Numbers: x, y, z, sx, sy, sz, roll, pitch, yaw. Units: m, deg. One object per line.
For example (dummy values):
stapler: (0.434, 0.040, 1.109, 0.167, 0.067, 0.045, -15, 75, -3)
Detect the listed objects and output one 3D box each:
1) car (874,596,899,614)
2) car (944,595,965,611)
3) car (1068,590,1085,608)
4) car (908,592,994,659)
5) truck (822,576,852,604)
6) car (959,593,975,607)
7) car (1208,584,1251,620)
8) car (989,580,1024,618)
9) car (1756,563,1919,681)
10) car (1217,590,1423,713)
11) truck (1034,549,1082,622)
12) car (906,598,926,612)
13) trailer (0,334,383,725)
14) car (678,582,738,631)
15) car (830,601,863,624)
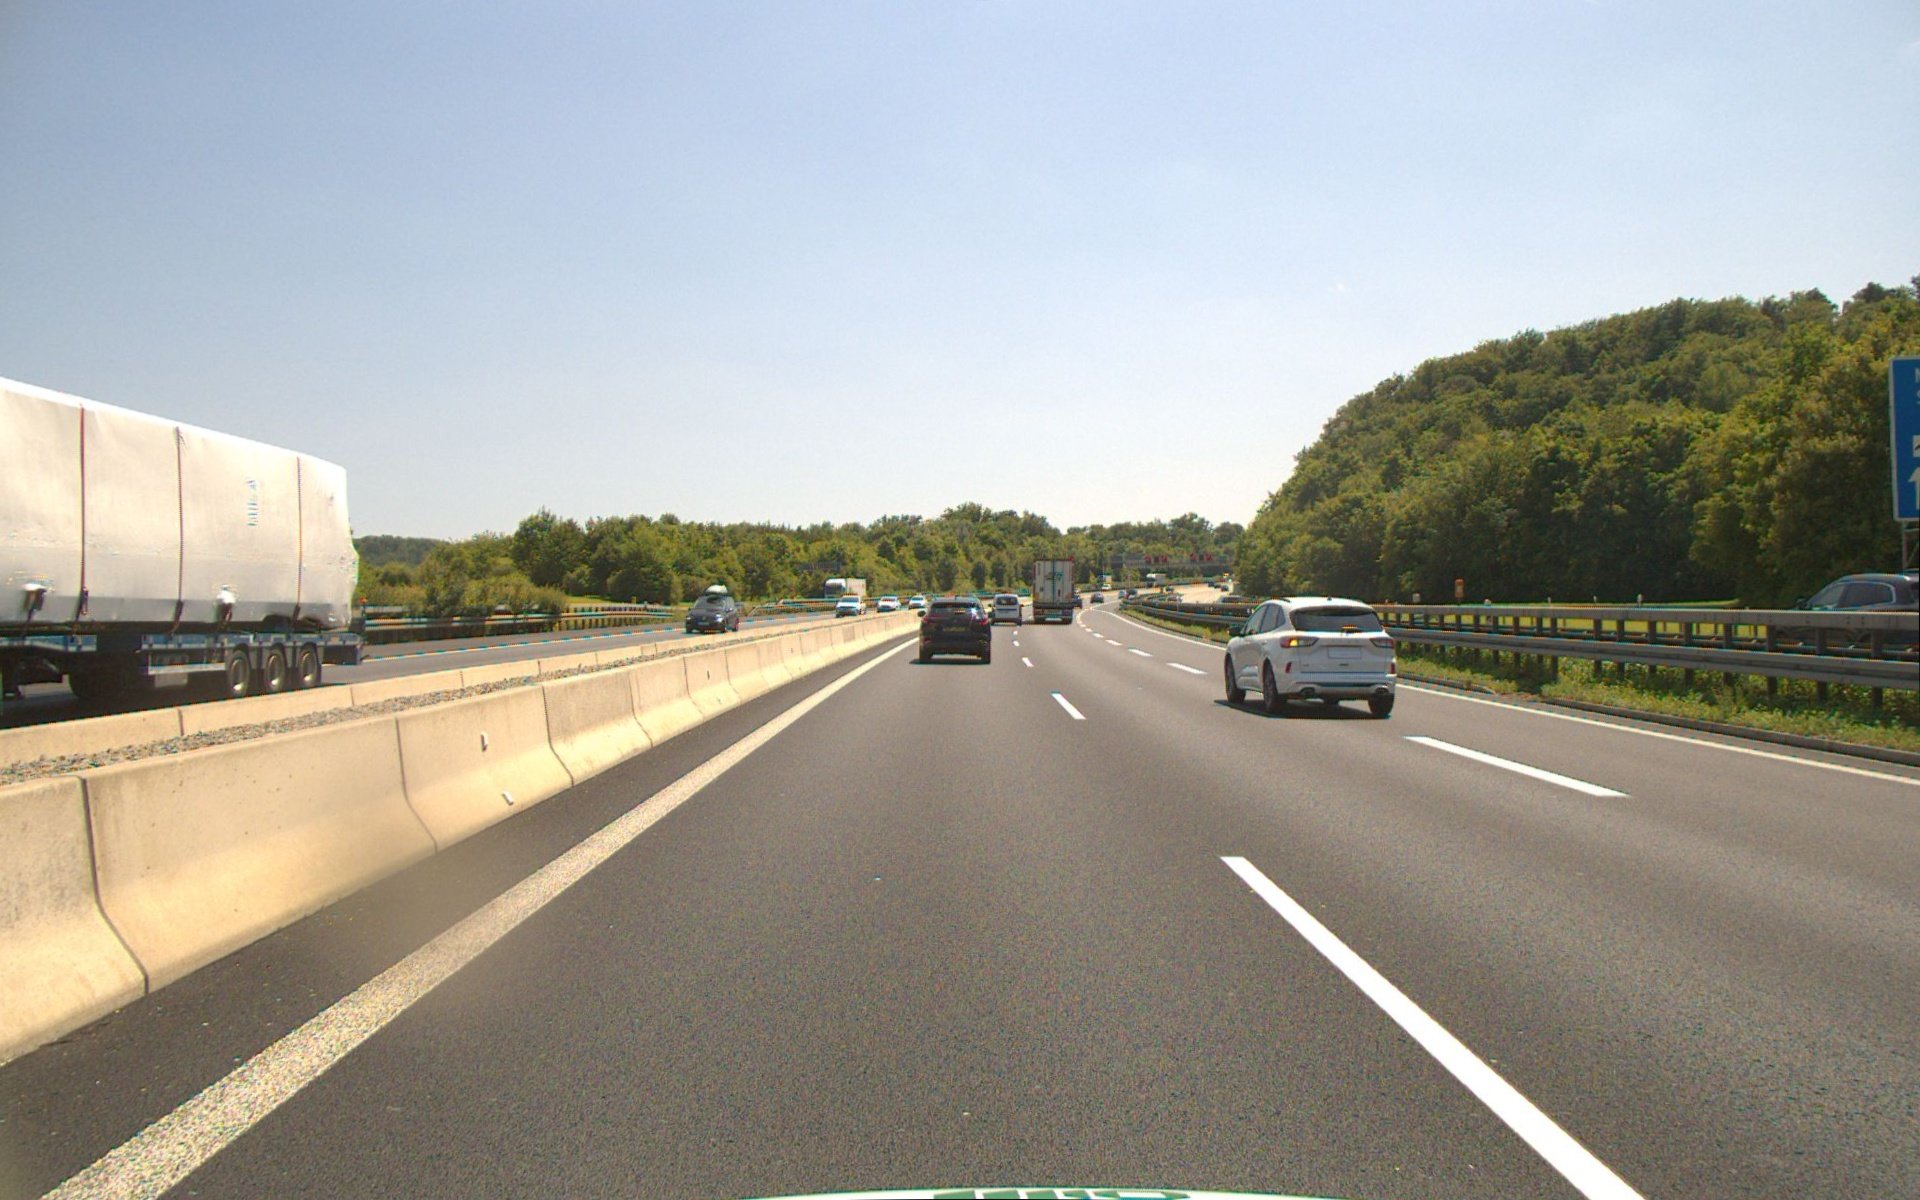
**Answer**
car: (-6.732, 0.461, 152.022, 1.952, 1.570, 5.043, 0, 0, 2)
car: (-0.598, 0.292, 174.908, 1.952, 1.688, 4.636, 0, 0, 3)
car: (13.376, -0.147, 189.489, 1.951, 2.049, 4.002, 0, 0, 4)
car: (-0.273, 0.627, 41.796, 1.745, 1.605, 3.994, 0, 0, -7)
truck: (-15.961, -1.288, 214.963, 3.018, 3.565, 5.413, 0, 0, 5)
car: (0.972, -0.018, 224.135, 1.952, 1.856, 4.907, 0, 0, 4)
car: (16.309, 0.112, 100.340, 1.952, 2.049, 4.000, -2, 0, 1)
car: (2.704, -0.078, 96.621, 1.952, 2.048, 4.001, -3, 0, 1)
car: (14.635, 0.327, 25.317, 1.954, 1.691, 5.622, 0, 0, -3)
car: (5.315, 0.718, 25.040, 1.954, 1.691, 4.465, 0, 0, -3)
truck: (6.396, -0.875, 107.959, 2.968, 4.496, 12.023, 0, 0, 3)
car: (-4.694, 0.480, 176.972, 1.812, 1.419, 4.002, 1, 0, 3)
trailer: (-12.165, -0.764, 24.724, 2.662, 4.388, 12.822, 0, 0, 0)
car: (-11.161, 0.289, 73.624, 1.953, 2.117, 4.703, 0, 0, 0)
car: (-8.390, 0.909, 122.535, 1.829, 1.695, 4.666, 0, 0, 4)
